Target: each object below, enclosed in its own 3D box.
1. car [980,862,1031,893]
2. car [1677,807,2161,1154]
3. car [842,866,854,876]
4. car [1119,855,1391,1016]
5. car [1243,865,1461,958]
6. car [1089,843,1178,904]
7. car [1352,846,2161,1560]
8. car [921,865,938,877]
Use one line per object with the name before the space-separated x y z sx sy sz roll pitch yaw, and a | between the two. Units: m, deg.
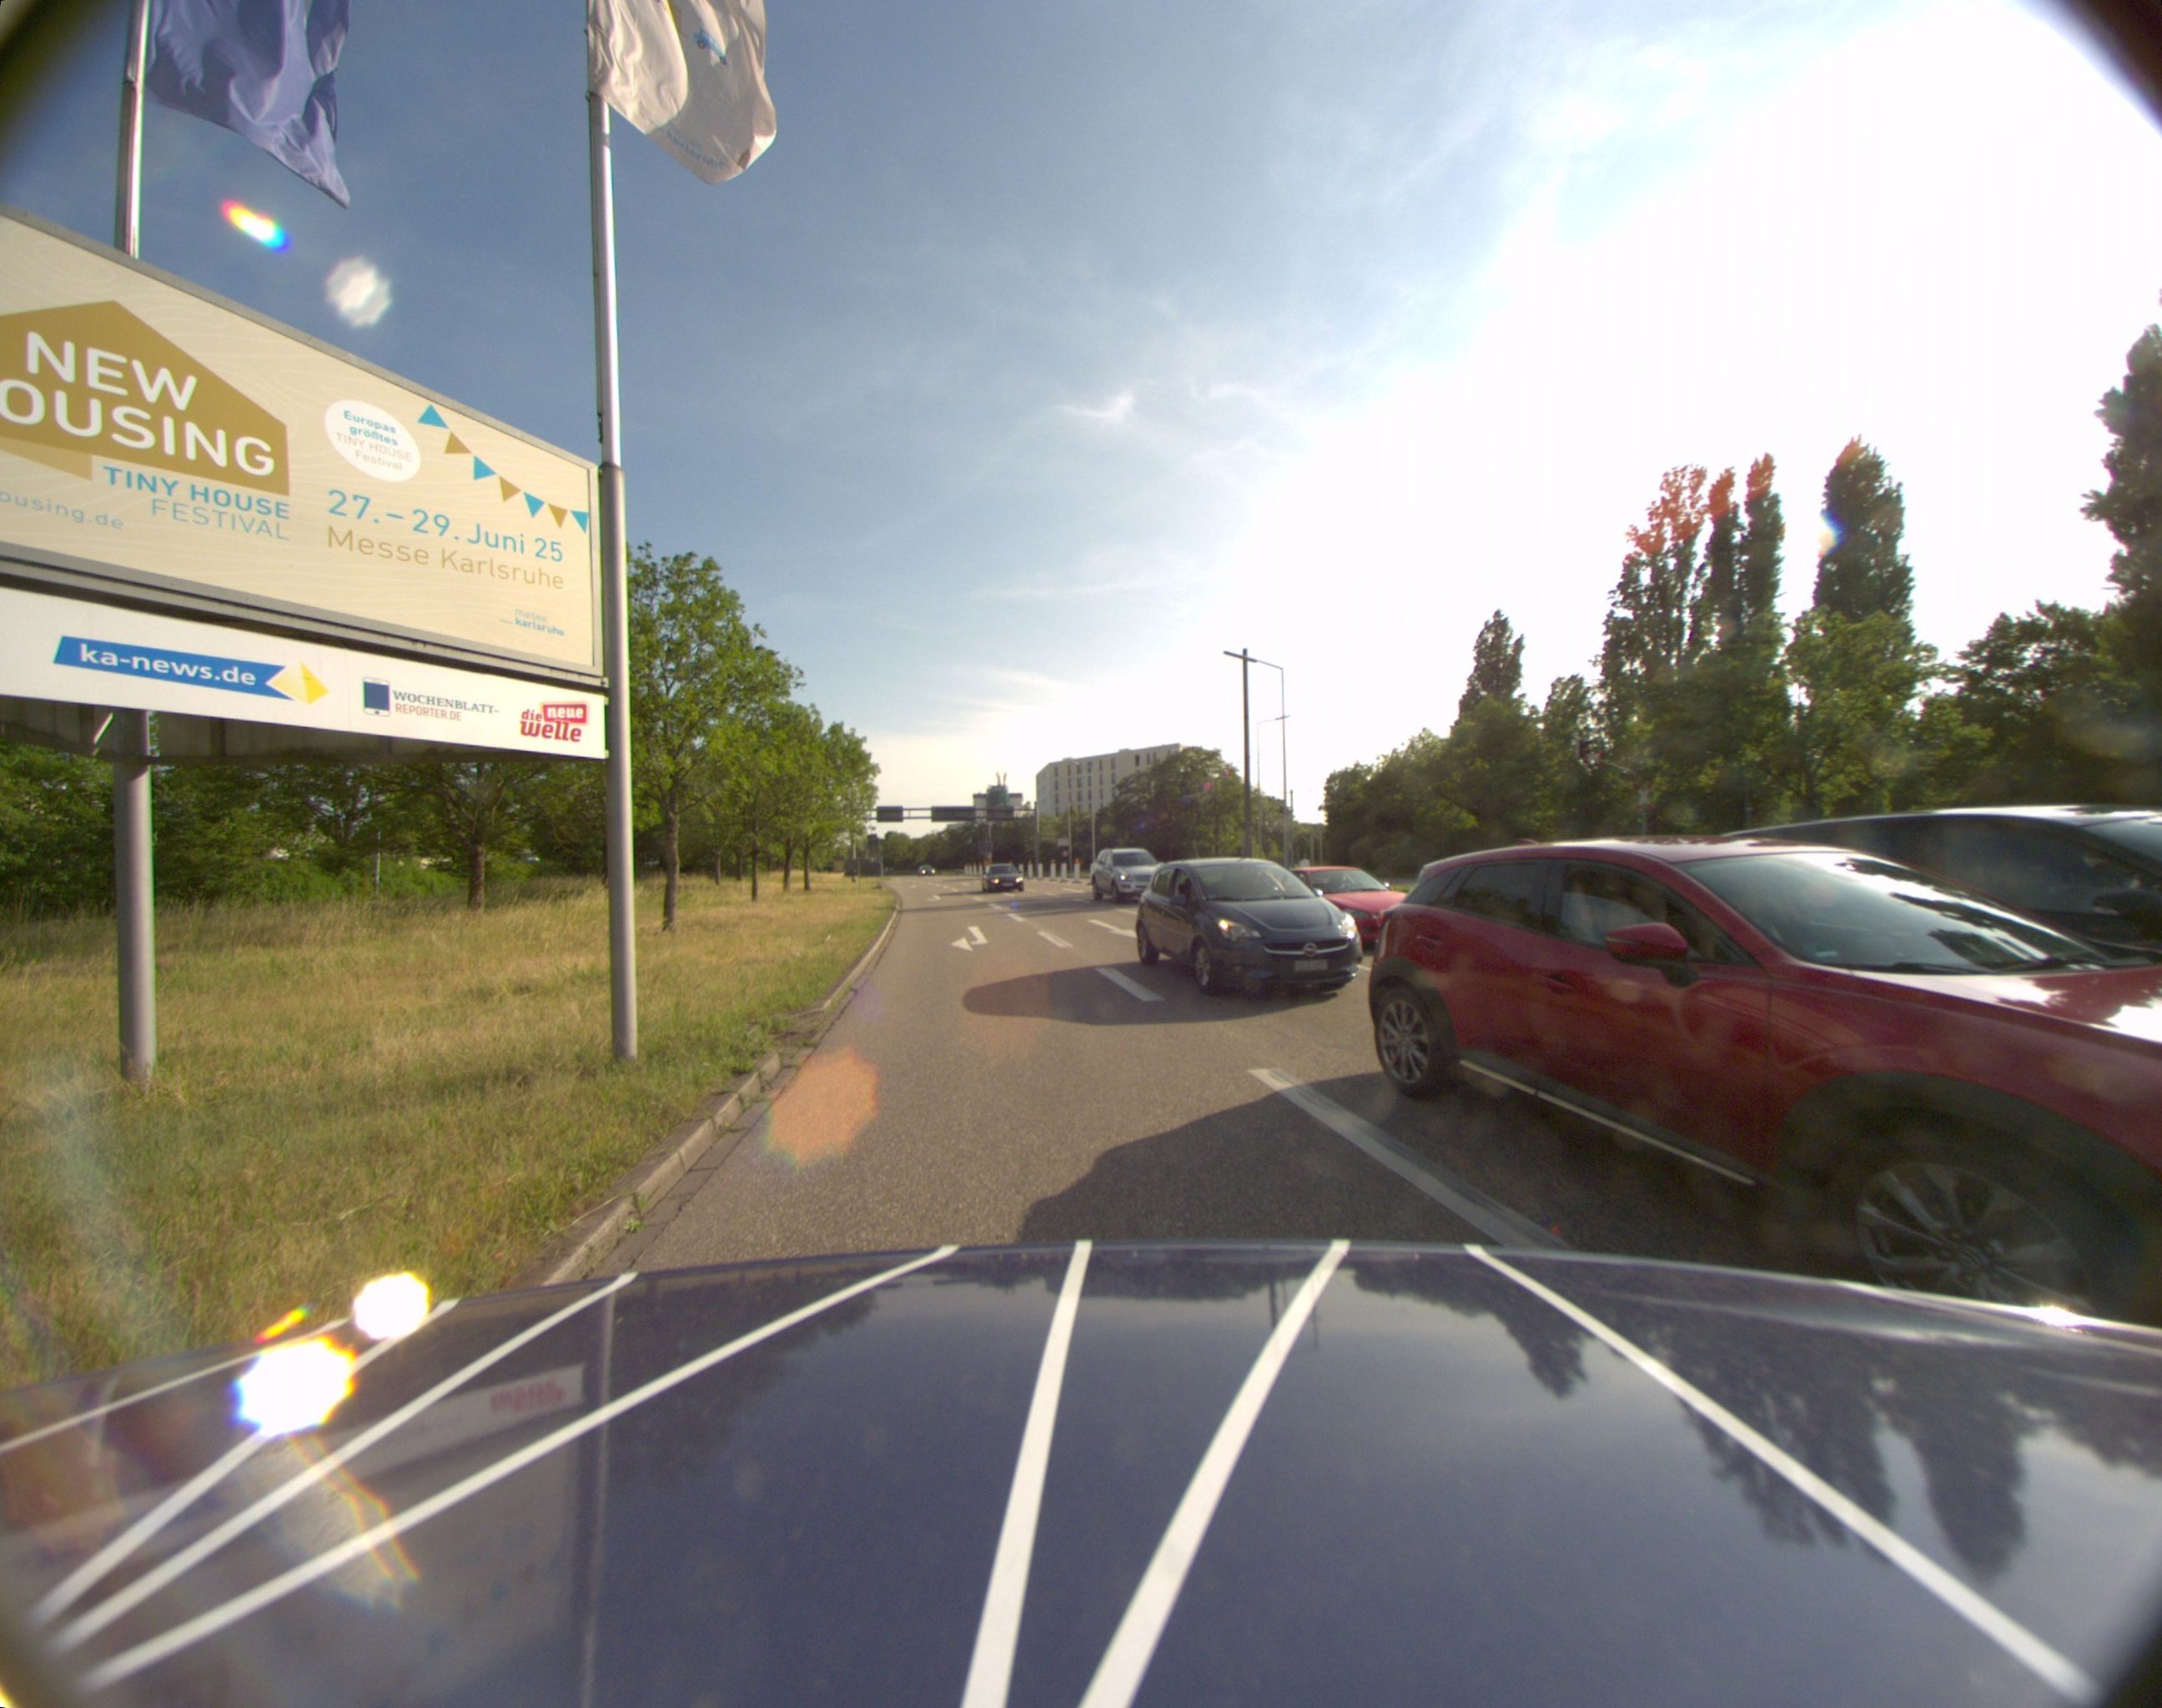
car | -3.927 1.149 38.708 1.903 1.377 4.351 -3 0 -14
car | 5.951 0.579 4.137 1.769 1.661 4.081 -2 0 -10
car | -49.702 3.601 161.862 1.864 2.002 4.169 -3 1 -24
car | 1.831 0.812 9.499 1.747 1.496 4.219 -2 0 -11
car | 4.307 0.842 12.771 1.737 1.199 3.844 -3 0 -10
car | 1.694 0.618 26.098 1.903 1.813 4.352 -3 0 -11
car | 2.957 0.765 3.142 1.712 1.542 3.974 -1 0 -10
car | -20.532 2.268 103.052 1.897 1.447 3.904 -1 0 -16
